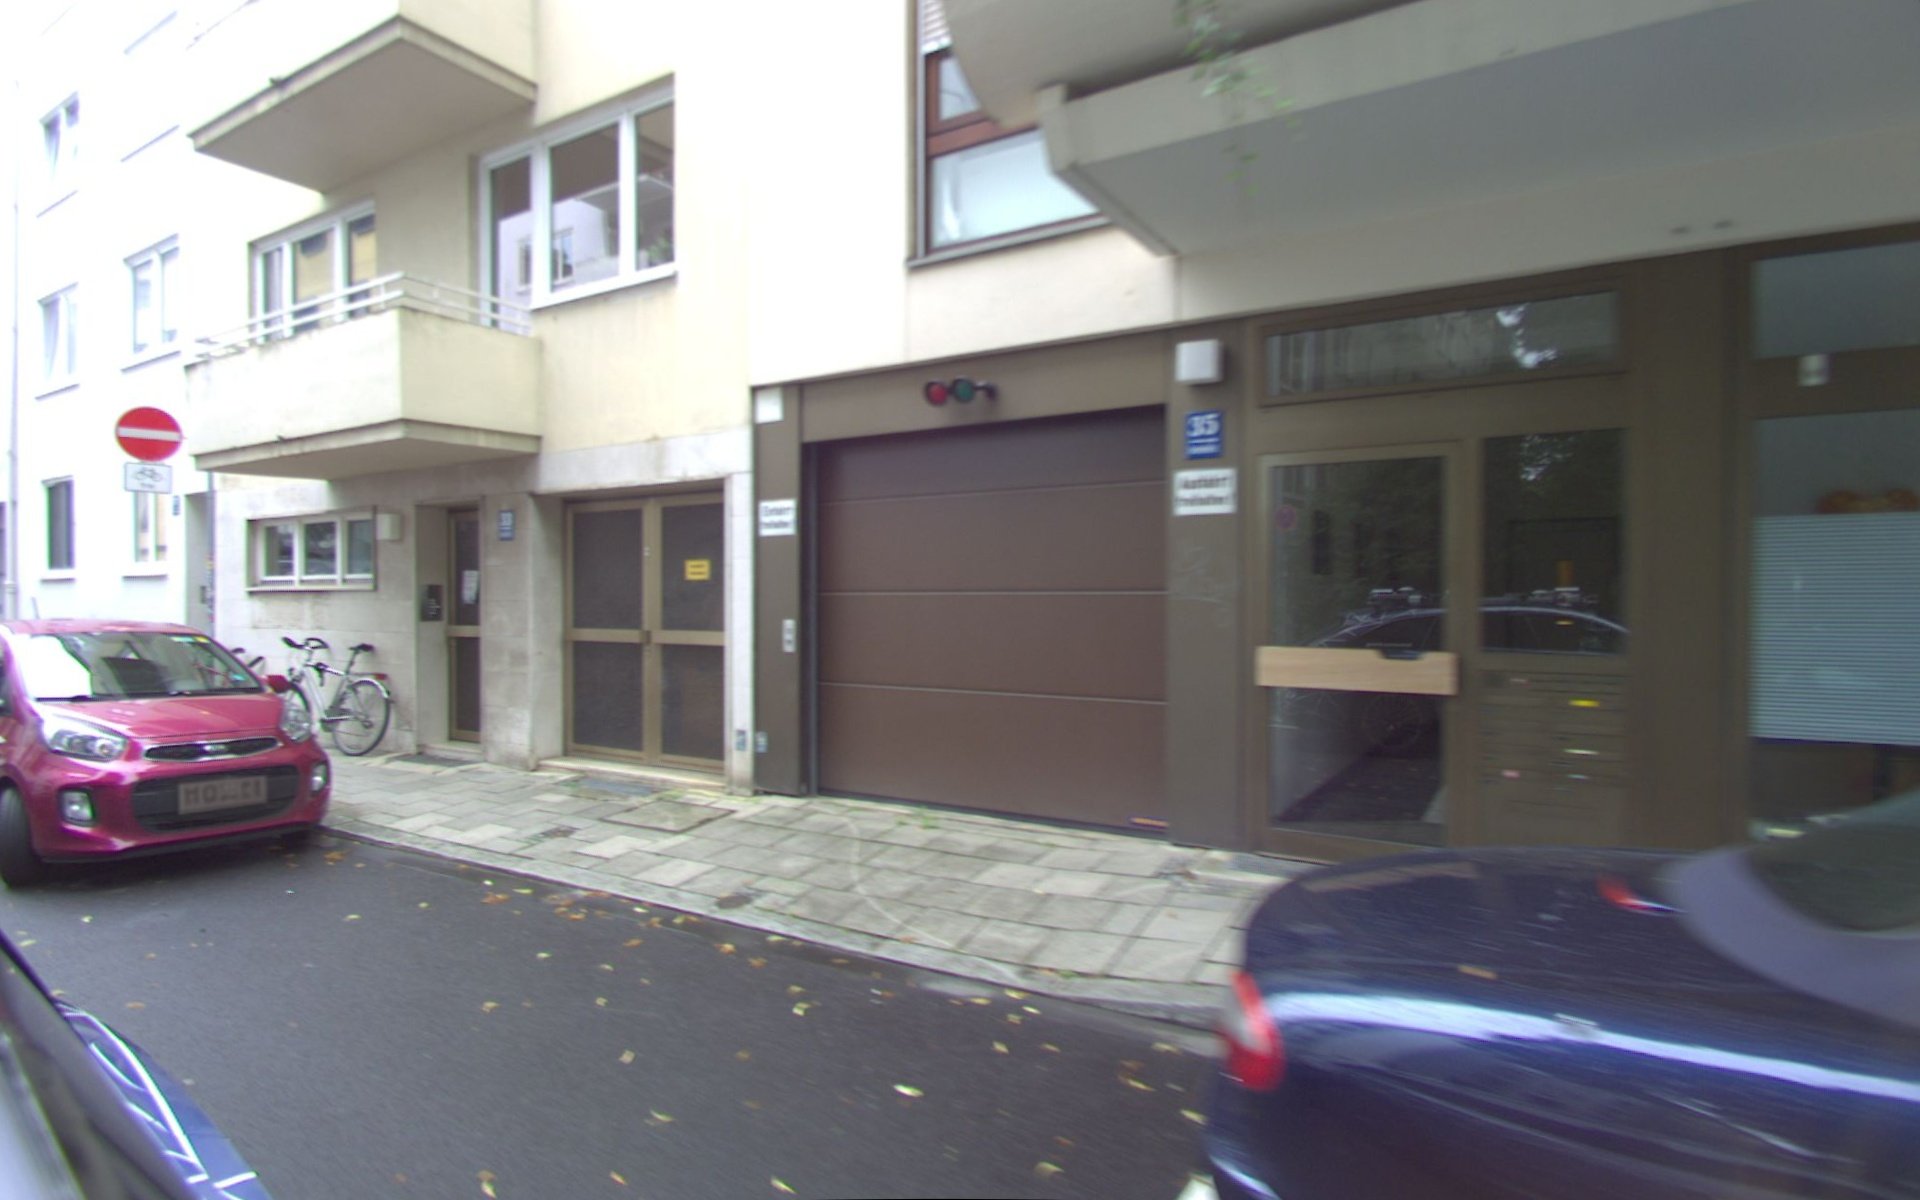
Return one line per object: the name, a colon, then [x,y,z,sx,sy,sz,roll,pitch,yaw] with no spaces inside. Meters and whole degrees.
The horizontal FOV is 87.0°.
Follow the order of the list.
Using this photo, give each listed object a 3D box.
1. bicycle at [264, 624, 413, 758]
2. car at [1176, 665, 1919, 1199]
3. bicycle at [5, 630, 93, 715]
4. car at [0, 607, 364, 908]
bicycle: [-5.909,0.819,9.589,1.754,1.157,0.464,-1,0,32]
car: [2.714,0.780,0.978,4.600,1.288,1.784,-1,-2,31]
bicycle: [-12.944,1.001,14.364,1.864,1.106,0.459,0,0,33]
car: [-5.809,0.809,6.725,3.694,1.508,1.608,0,-1,30]
